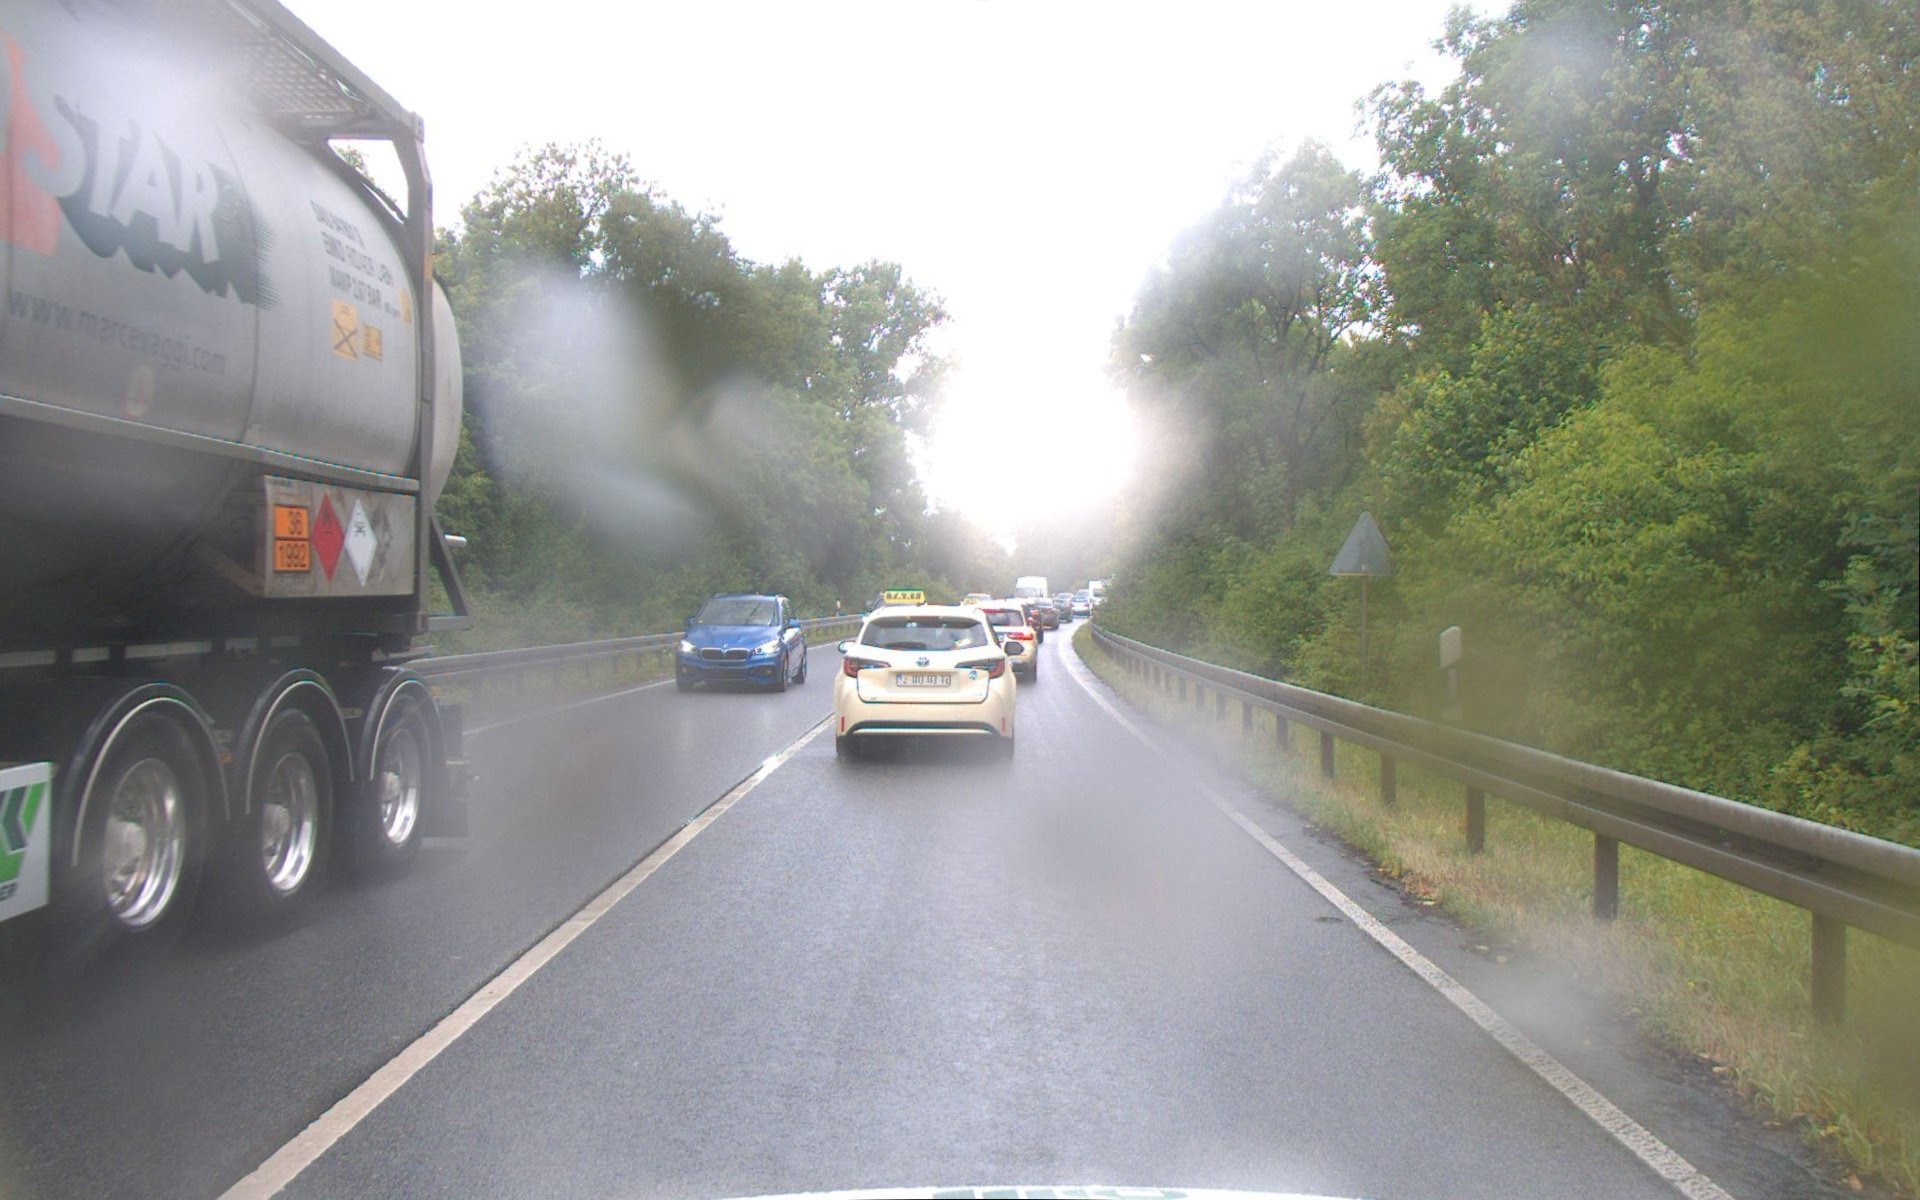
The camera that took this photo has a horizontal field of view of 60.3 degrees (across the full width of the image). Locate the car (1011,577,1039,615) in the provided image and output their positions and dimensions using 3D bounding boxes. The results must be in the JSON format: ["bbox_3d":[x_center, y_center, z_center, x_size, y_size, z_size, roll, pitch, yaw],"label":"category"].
[{"bbox_3d":[4.953,-0.280,125.126,2.005,2.723,6.173,0,-1,3],"label":"car"}]

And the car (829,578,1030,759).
[{"bbox_3d":[-0.257,0.638,17.060,1.796,1.608,4.156,1,-1,0],"label":"car"}]

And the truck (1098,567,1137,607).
[{"bbox_3d":[15.557,-1.256,162.730,3.041,3.745,7.005,1,-1,11],"label":"truck"}]

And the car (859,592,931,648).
[{"bbox_3d":[-2.021,0.616,52.470,1.808,1.672,4.300,1,0,4],"label":"car"}]

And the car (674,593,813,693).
[{"bbox_3d":[-3.581,0.697,28.005,1.672,1.542,3.913,1,-1,2],"label":"car"}]

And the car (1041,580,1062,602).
[{"bbox_3d":[9.008,-0.894,162.309,1.951,2.049,4.002,1,-1,4],"label":"car"}]

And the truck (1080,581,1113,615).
[{"bbox_3d":[11.445,-0.130,138.863,2.496,2.760,7.537,1,-1,3],"label":"truck"}]

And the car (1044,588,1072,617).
[{"bbox_3d":[5.753,0.171,96.928,1.582,1.641,3.623,1,-1,4],"label":"car"}]

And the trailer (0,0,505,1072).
[{"bbox_3d":[-4.033,-0.567,6.127,2.484,3.892,7.790,1,-1,0],"label":"trailer"}]

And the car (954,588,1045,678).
[{"bbox_3d":[0.776,0.622,32.167,1.633,1.608,3.892,1,-1,2],"label":"car"}]

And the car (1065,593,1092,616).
[{"bbox_3d":[8.380,0.344,116.730,1.732,1.574,3.816,1,-1,6],"label":"car"}]

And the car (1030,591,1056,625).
[{"bbox_3d":[3.897,0.392,77.893,1.143,1.574,2.604,1,-1,1],"label":"car"}]

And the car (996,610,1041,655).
[{"bbox_3d":[2.120,1.147,59.380,1.577,1.574,3.815,0,-1,3],"label":"car"}]

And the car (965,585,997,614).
[{"bbox_3d":[1.187,-0.037,92.415,1.656,1.583,4.443,1,0,2],"label":"car"}]

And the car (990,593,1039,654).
[{"bbox_3d":[1.484,0.641,45.456,1.273,1.574,3.260,1,-1,1],"label":"car"}]
